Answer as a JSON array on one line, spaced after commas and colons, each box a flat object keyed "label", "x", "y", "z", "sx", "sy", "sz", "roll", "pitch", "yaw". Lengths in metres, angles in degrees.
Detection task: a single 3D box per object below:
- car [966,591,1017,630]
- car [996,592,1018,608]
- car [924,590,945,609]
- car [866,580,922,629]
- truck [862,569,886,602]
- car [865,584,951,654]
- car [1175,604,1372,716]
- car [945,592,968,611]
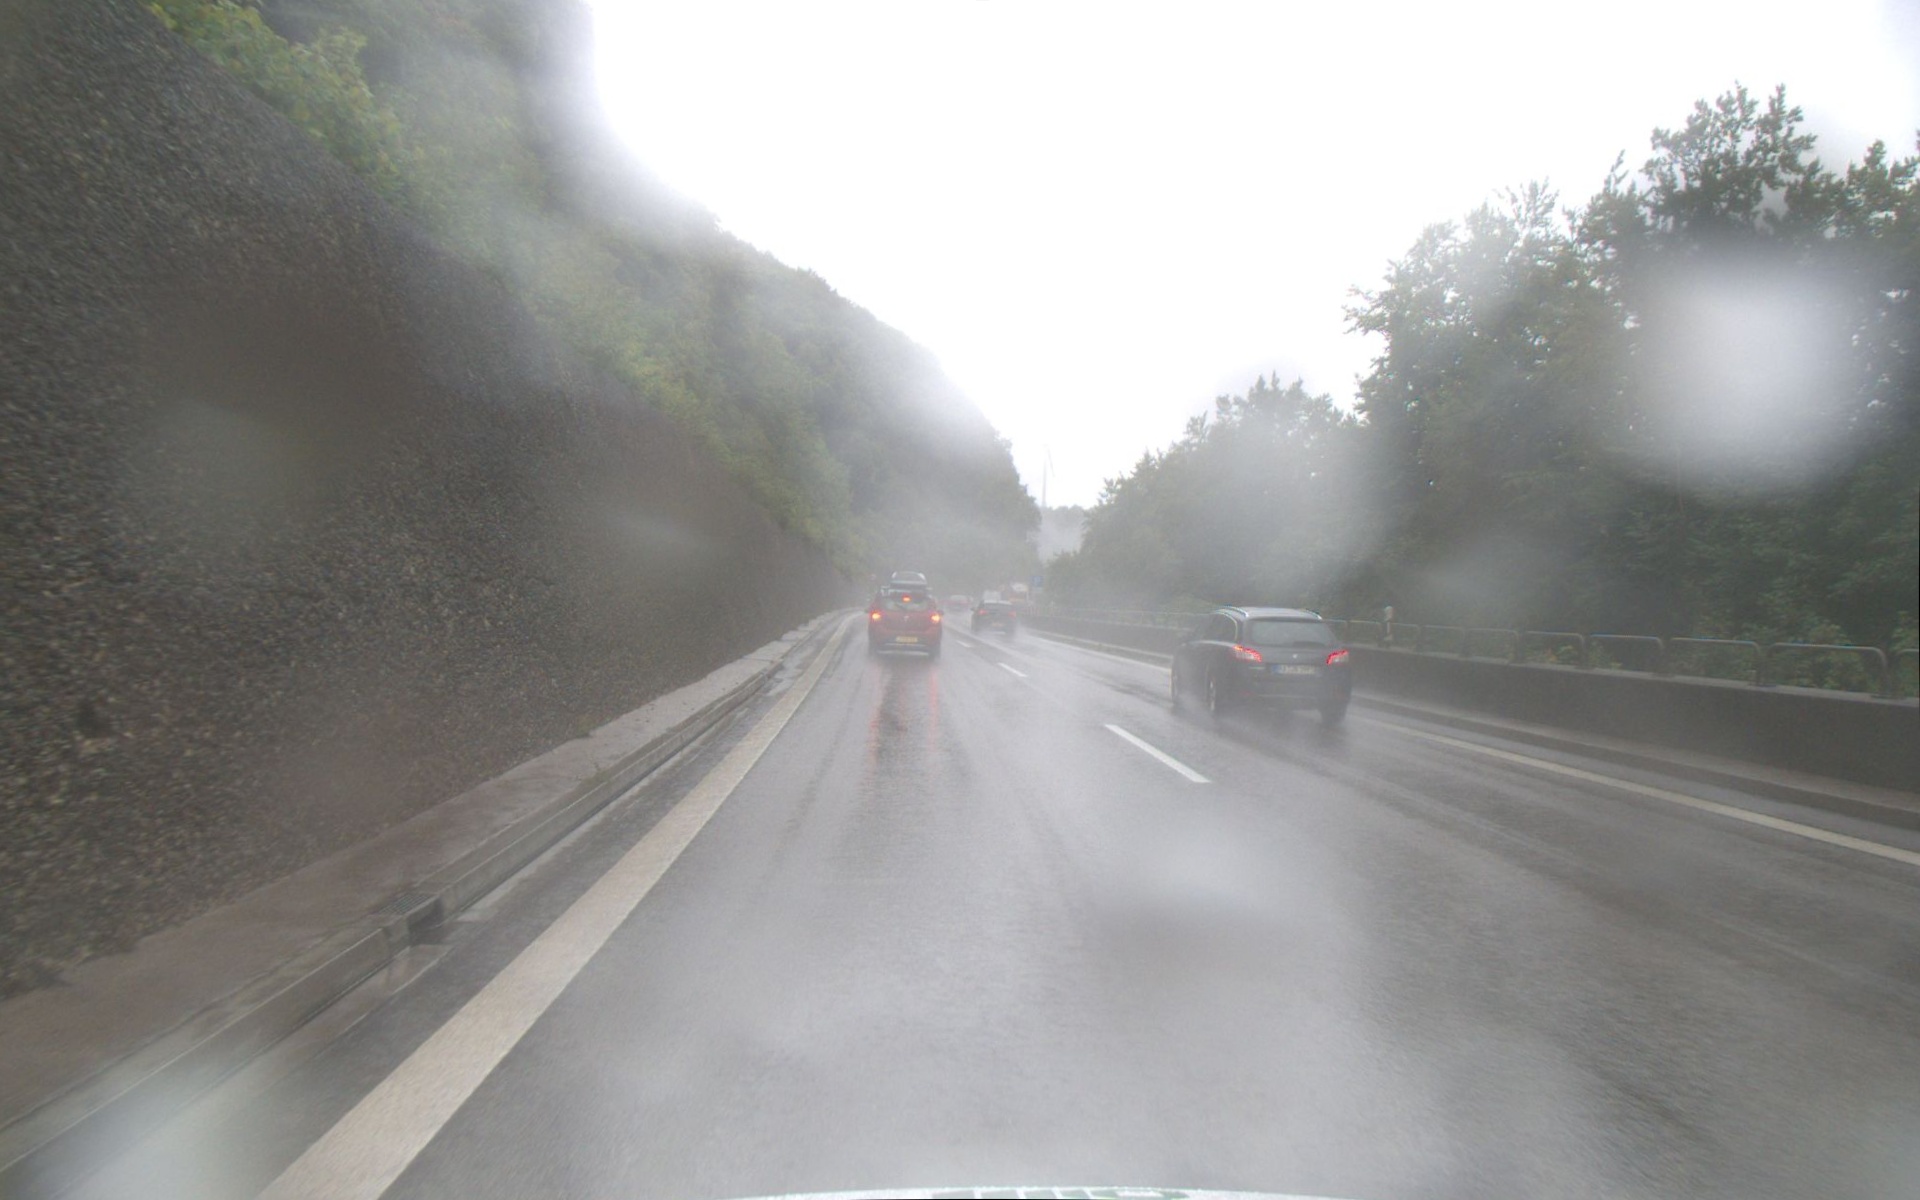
[{"label": "car", "x": 1.313, "y": 0.438, "z": 70.134, "sx": 1.953, "sy": 1.579, "sz": 3.999, "roll": 1, "pitch": 0, "yaw": -2}, {"label": "car", "x": 6.026, "y": -0.034, "z": 213.117, "sx": 2.401, "sy": 2.049, "sz": 4.731, "roll": 1, "pitch": 0, "yaw": -5}, {"label": "car", "x": -2.492, "y": -0.018, "z": 159.851, "sx": 1.953, "sy": 1.780, "sz": 3.999, "roll": 1, "pitch": 0, "yaw": -2}, {"label": "car", "x": -2.409, "y": 0.204, "z": 61.111, "sx": 1.953, "sy": 1.713, "sz": 3.999, "roll": 1, "pitch": -1, "yaw": -1}, {"label": "truck", "x": -7.701, "y": -1.284, "z": 147.436, "sx": 1.954, "sy": 2.799, "sz": 5.583, "roll": 3, "pitch": 0, "yaw": -3}, {"label": "car", "x": -1.247, "y": 0.451, "z": 39.295, "sx": 1.953, "sy": 1.579, "sz": 3.998, "roll": 0, "pitch": -1, "yaw": -2}, {"label": "car", "x": 4.131, "y": 0.750, "z": 22.406, "sx": 1.764, "sy": 1.330, "sz": 3.998, "roll": 1, "pitch": 0, "yaw": -2}, {"label": "car", "x": -0.332, "y": 0.127, "z": 148.803, "sx": 1.953, "sy": 1.604, "sz": 3.999, "roll": 1, "pitch": 0, "yaw": -2}]
